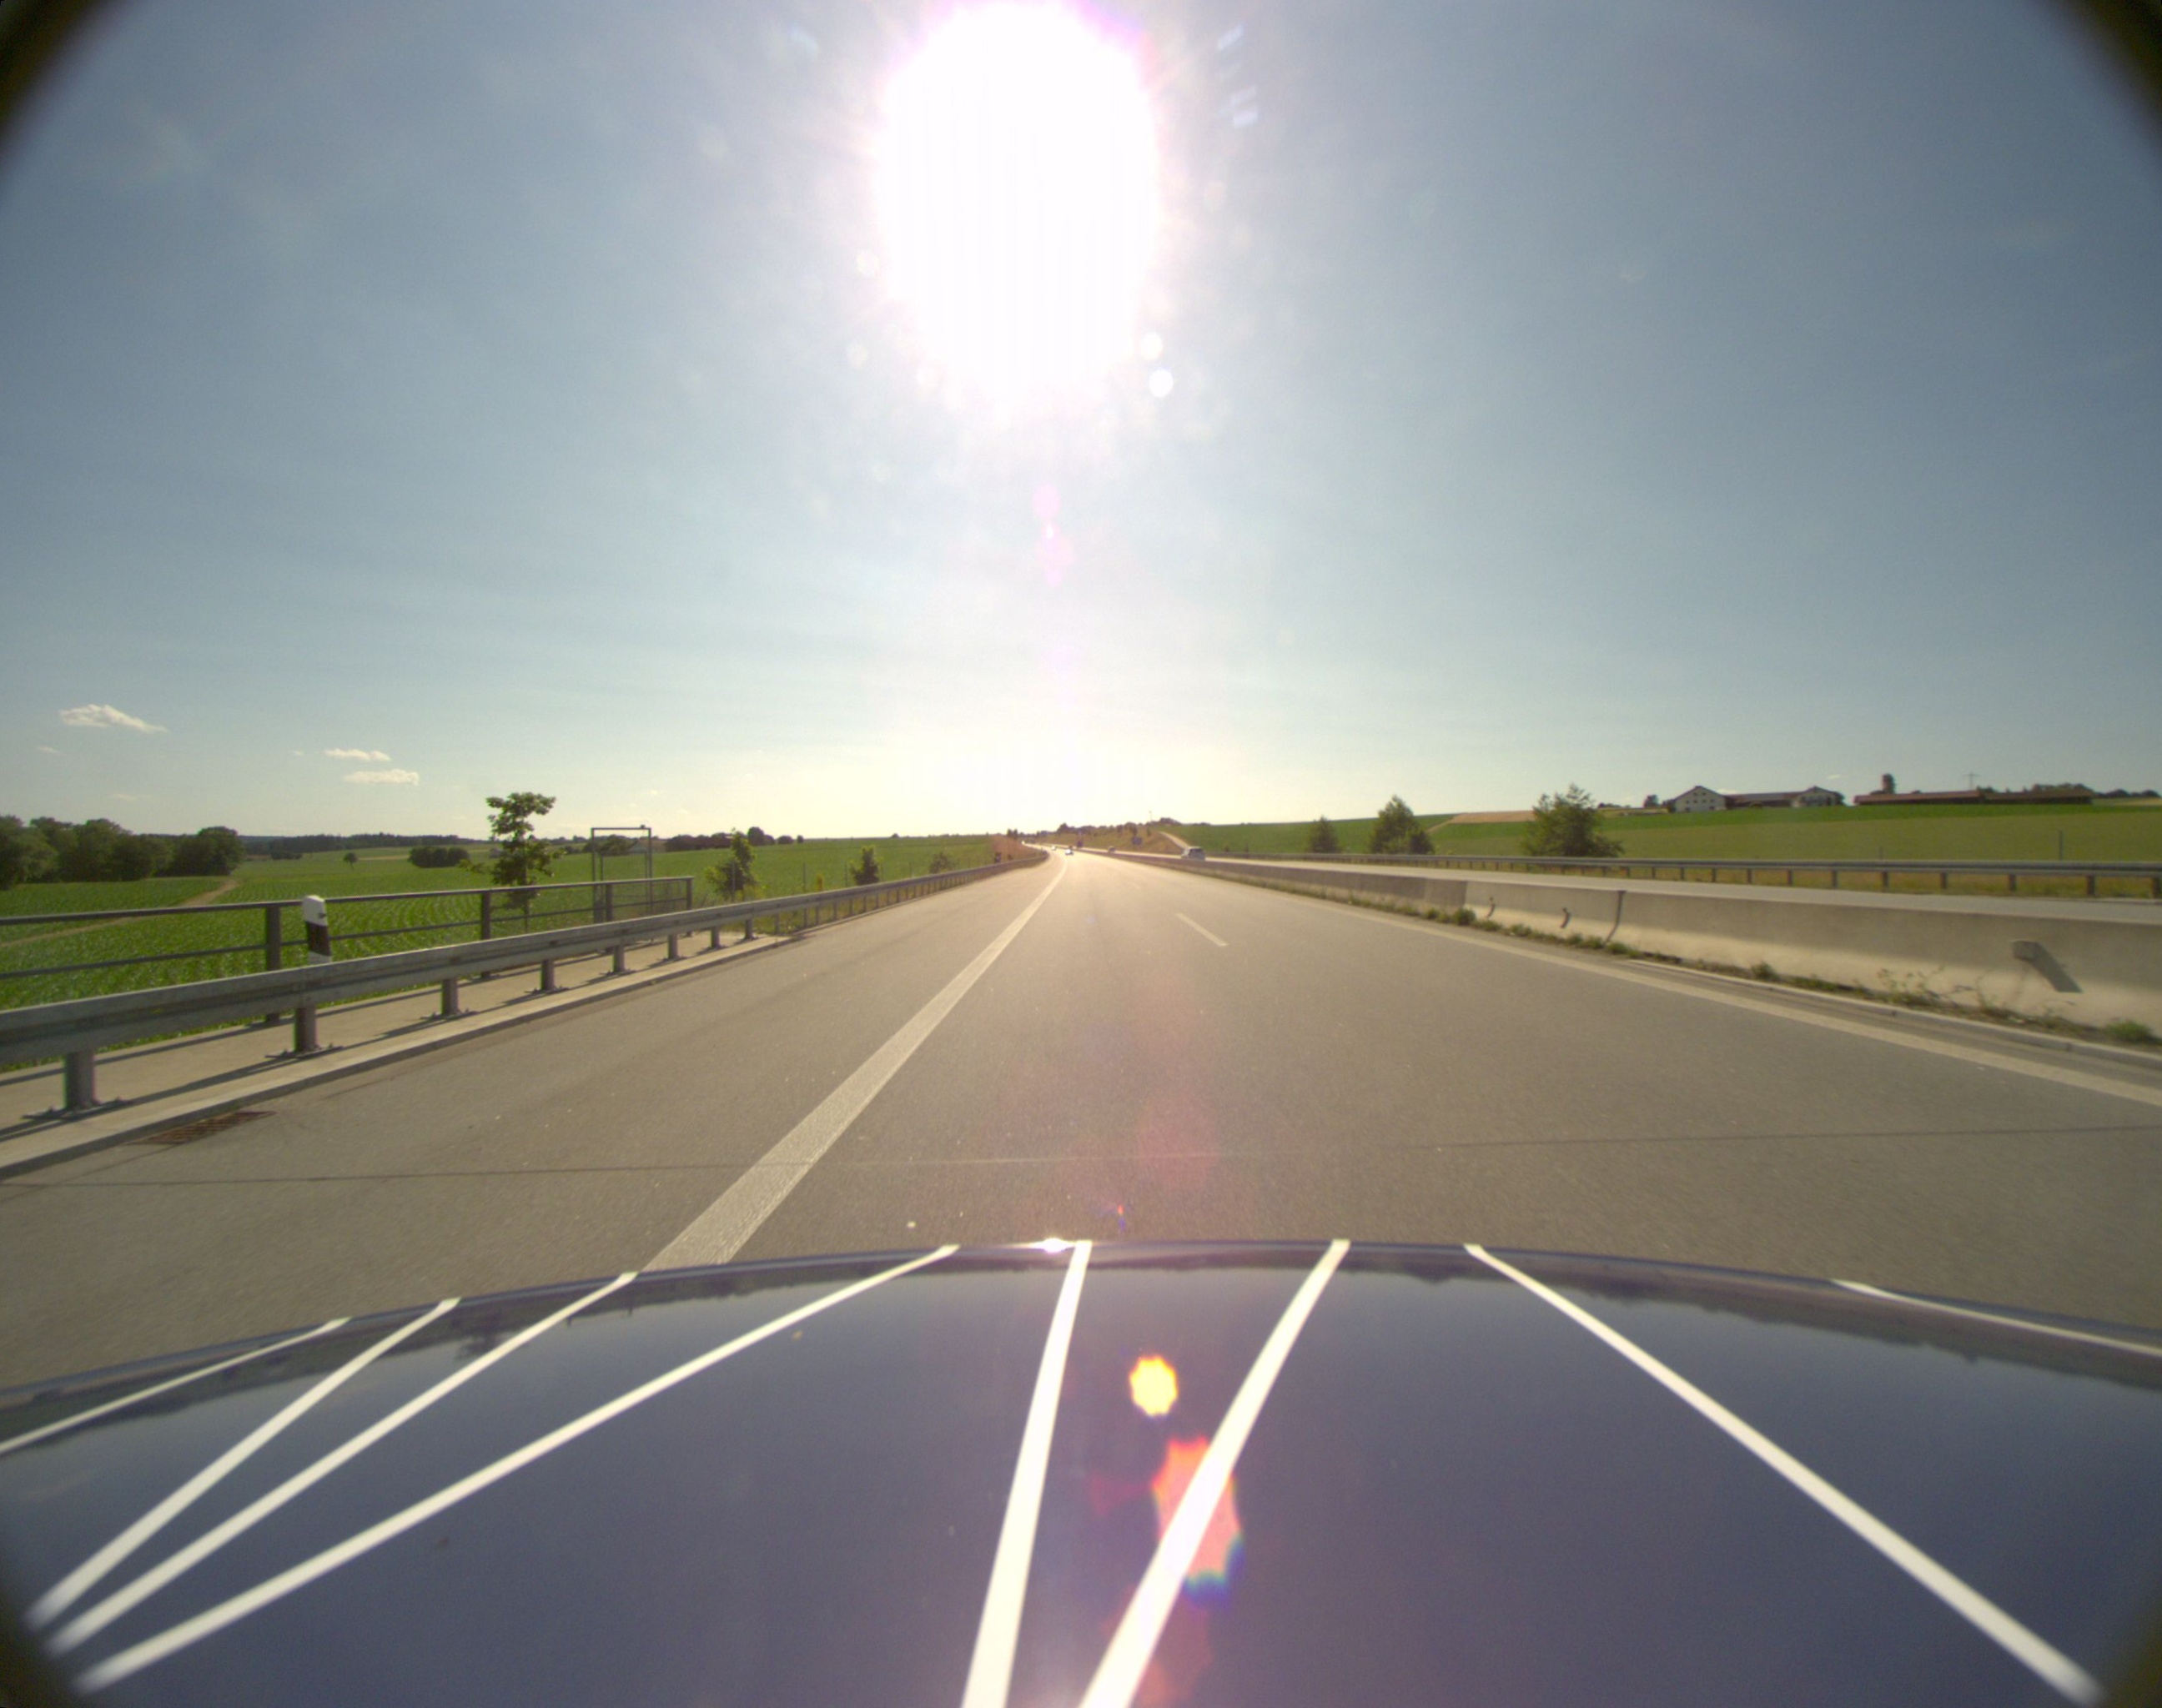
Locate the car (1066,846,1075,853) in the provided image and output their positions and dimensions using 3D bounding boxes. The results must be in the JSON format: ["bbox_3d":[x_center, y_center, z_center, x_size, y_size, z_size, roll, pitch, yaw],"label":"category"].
[{"bbox_3d":[-2.549,-1.037,181.760,1.714,1.580,4.627,-2,1,2],"label":"car"}]

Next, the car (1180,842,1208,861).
[{"bbox_3d":[11.050,-0.292,74.572,1.871,1.715,4.397,-3,1,-2],"label":"car"}]
